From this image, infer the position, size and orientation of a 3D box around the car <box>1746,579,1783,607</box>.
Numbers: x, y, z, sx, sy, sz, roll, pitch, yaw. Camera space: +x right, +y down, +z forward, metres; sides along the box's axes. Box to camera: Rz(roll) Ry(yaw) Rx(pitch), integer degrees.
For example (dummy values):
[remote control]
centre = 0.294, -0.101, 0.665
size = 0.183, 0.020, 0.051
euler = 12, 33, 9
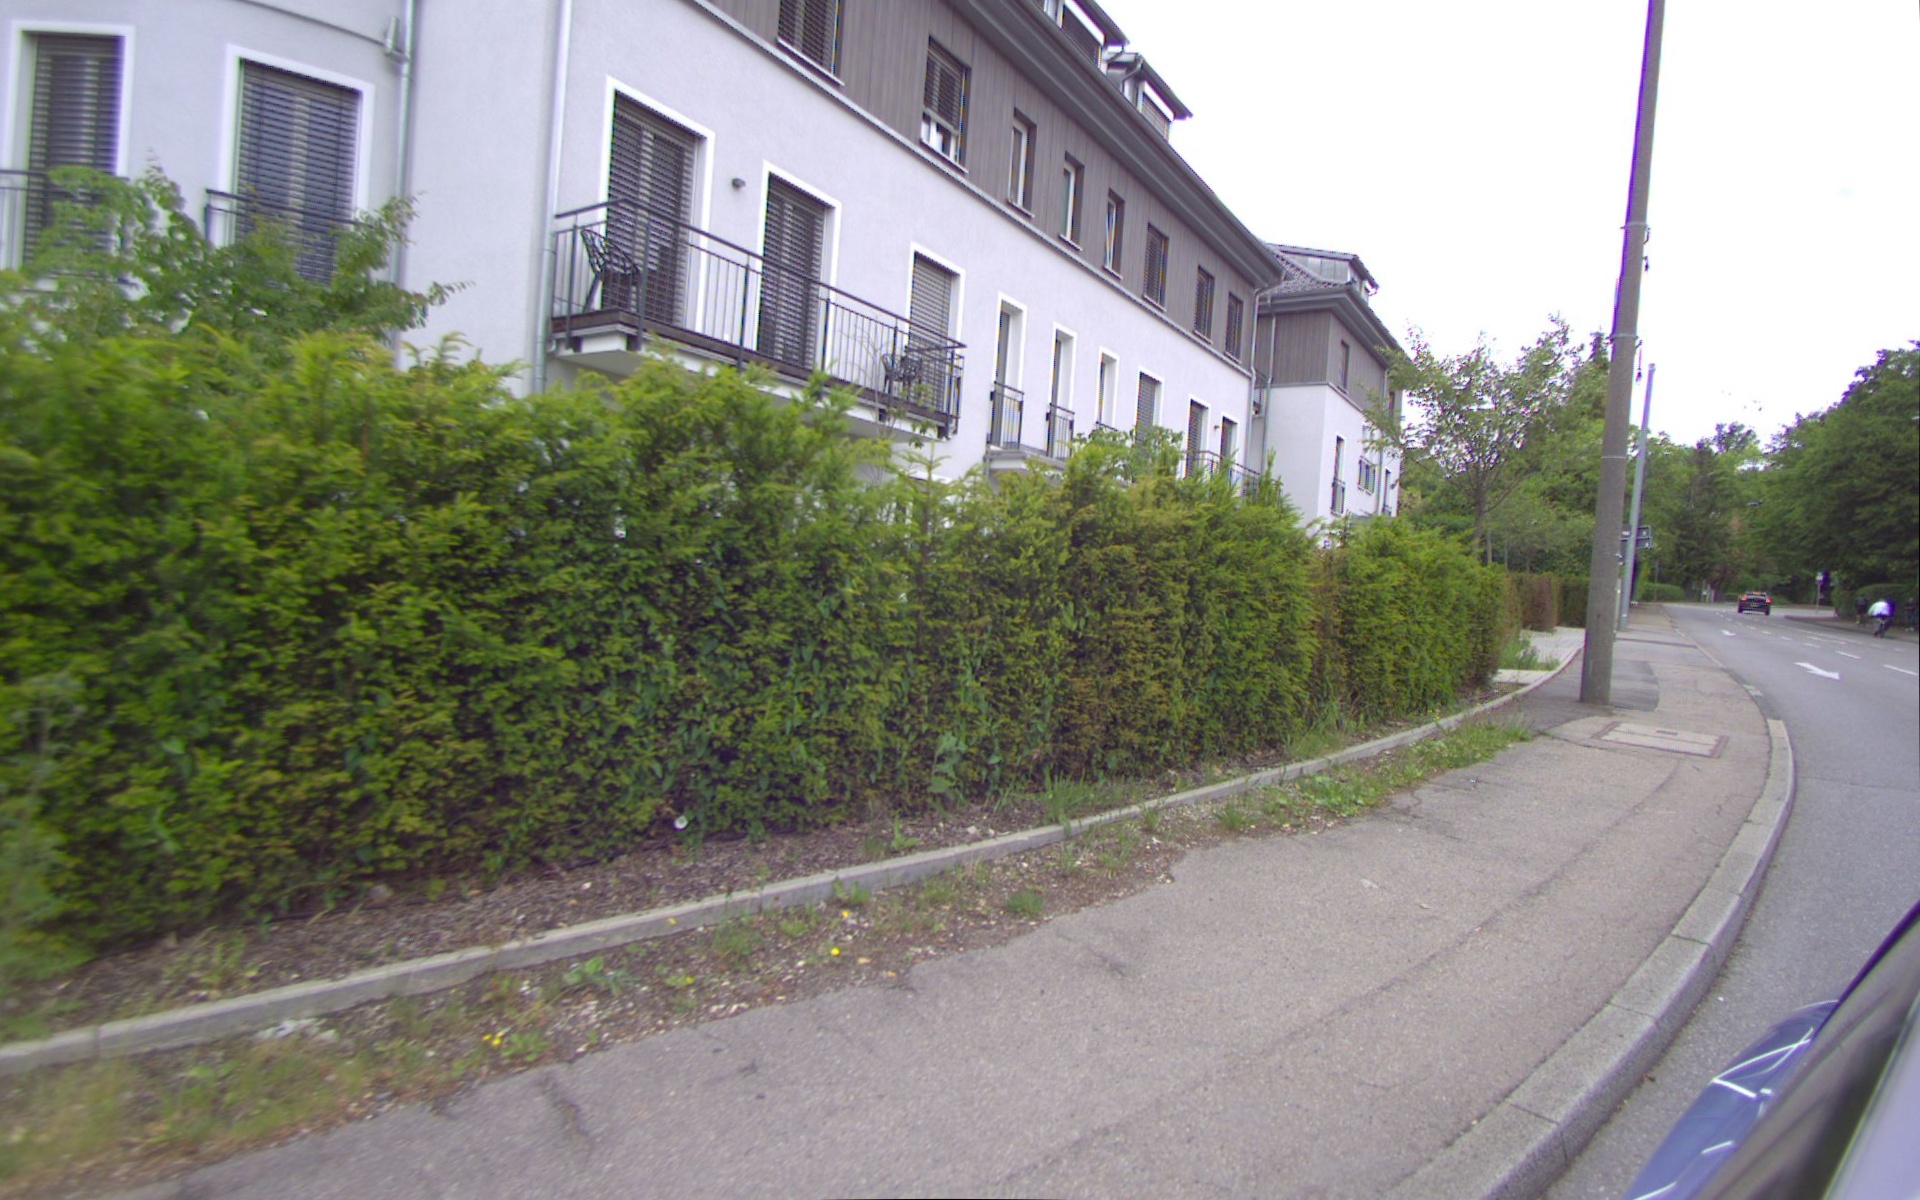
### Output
[car]
centre = 59.385, -0.521, 74.753
size = 1.830, 1.648, 4.227
euler = 9, 9, 37

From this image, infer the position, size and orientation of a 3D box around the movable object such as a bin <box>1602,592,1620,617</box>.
[movable object such as a bin]
centre = 26.075, 0.179, 40.535
size = 0.461, 0.949, 0.600
euler = 3, 2, 24

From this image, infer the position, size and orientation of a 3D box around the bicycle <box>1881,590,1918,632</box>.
[bicycle]
centre = 41.382, 0.462, 44.599
size = 0.756, 1.765, 1.849
euler = 6, 4, 33

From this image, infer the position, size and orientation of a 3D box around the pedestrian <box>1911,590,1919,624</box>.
[pedestrian]
centre = 49.226, 0.371, 51.603
size = 0.623, 1.682, 0.913
euler = 3, 3, 21
